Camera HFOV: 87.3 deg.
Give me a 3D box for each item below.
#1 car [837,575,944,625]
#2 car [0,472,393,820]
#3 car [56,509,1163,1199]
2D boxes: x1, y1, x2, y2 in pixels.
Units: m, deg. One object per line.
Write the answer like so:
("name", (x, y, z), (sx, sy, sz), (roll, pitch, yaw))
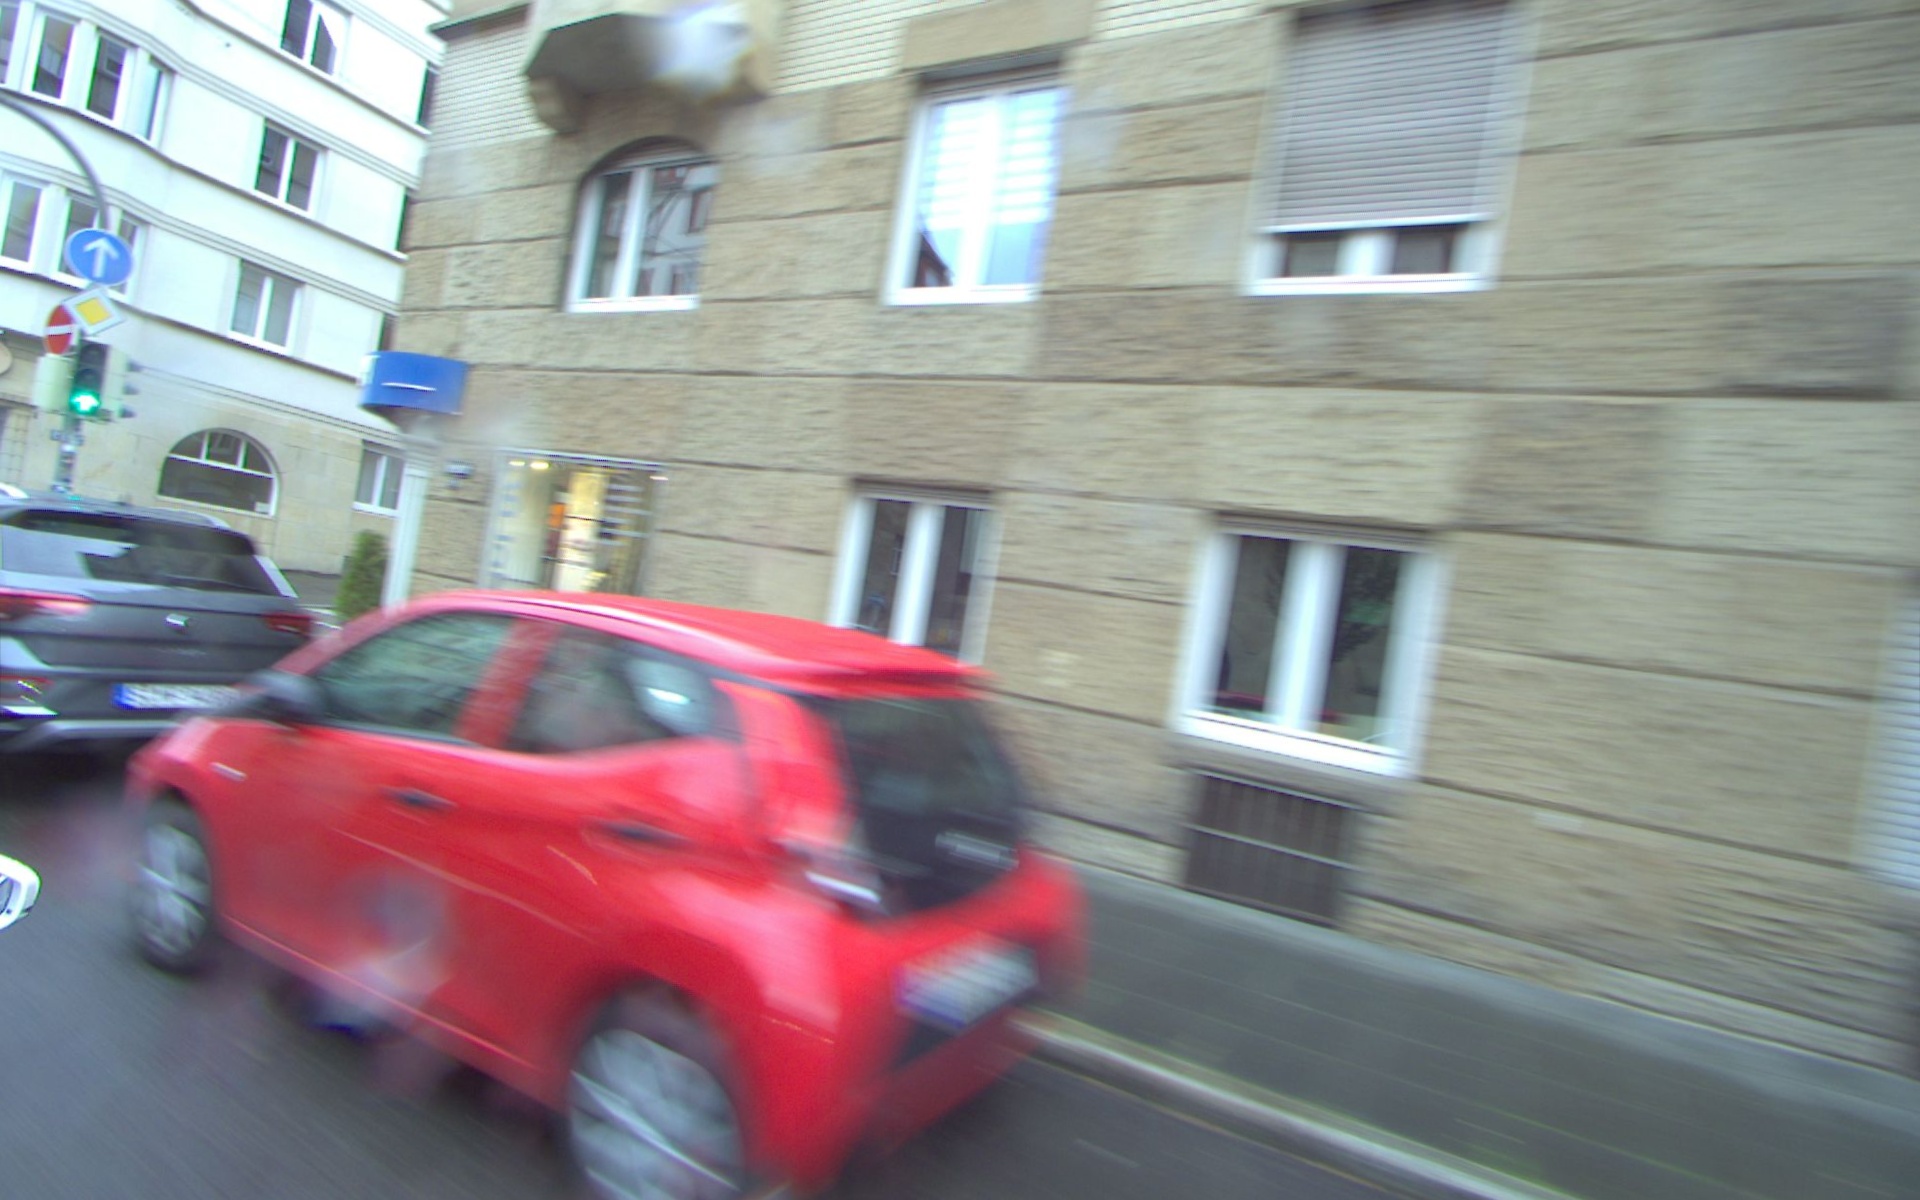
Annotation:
("car", (-2.576, 0.031, 38.560), (1.945, 1.588, 4.362), (4, 0, 29))
("car", (-5.611, 0.118, 6.192), (3.924, 1.566, 1.872), (7, -3, 31))
("car", (-1.293, 0.670, 3.597), (3.472, 1.469, 1.711), (7, -3, 29))
